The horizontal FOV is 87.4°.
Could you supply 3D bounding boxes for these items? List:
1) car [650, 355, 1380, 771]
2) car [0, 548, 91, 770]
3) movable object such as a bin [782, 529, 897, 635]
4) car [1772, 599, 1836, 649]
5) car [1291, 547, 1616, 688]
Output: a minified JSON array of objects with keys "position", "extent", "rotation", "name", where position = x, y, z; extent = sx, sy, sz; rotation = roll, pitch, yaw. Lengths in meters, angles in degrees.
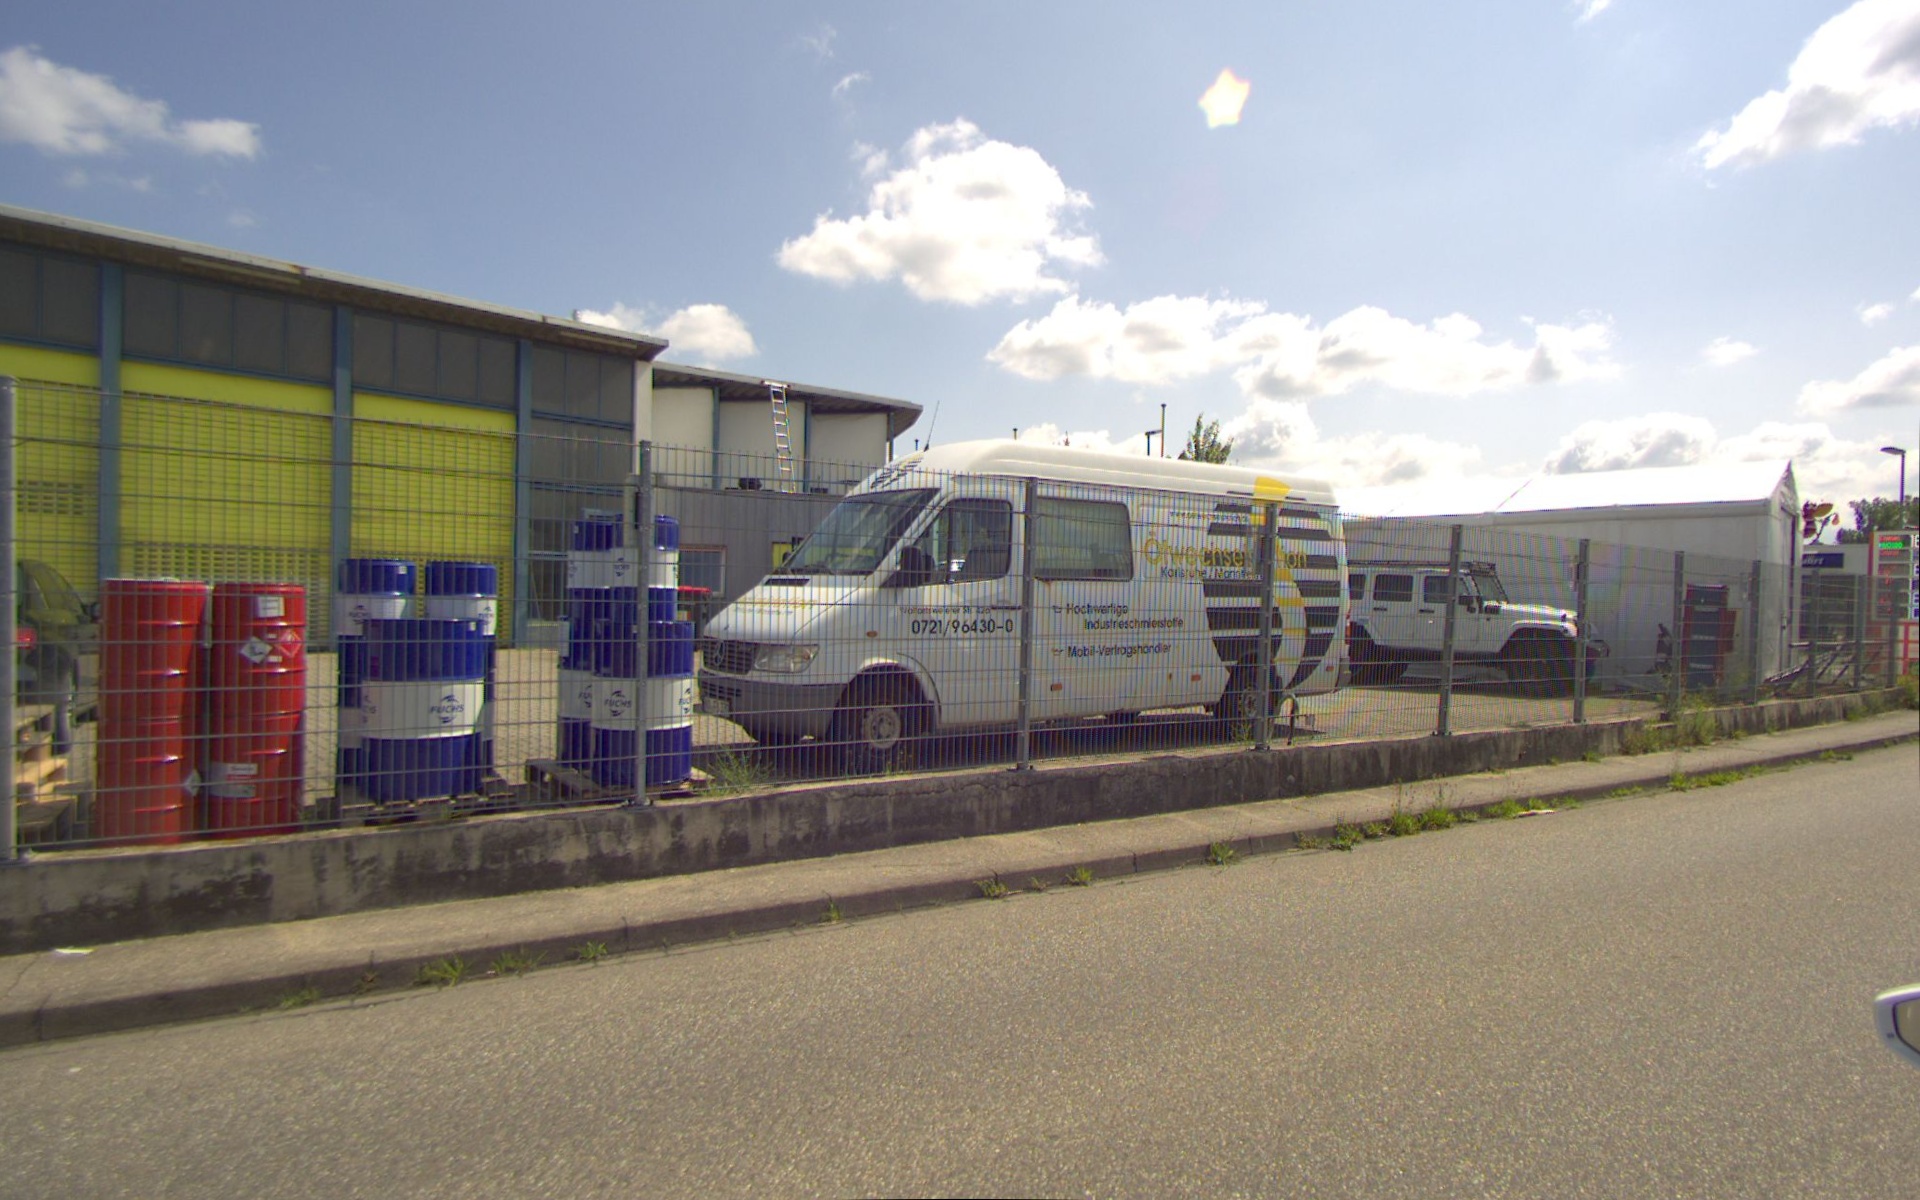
[{"position":[0.877,-0.176,9.009],"extent":[6.650,2.571,2.105],"rotation":[1,0,-35],"name":"car"},{"position":[-7.569,0.282,7.319],"extent":[1.720,1.349,4.162],"rotation":[5,-2,-40],"name":"car"},{"position":[-2.629,-0.399,21.867],"extent":[2.332,2.133,1.634],"rotation":[2,2,-8],"name":"movable object such as a bin"},{"position":[39.065,1.113,46.455],"extent":[1.972,2.137,4.982],"rotation":[2,0,43],"name":"car"},{"position":[8.200,0.226,16.923],"extent":[4.503,2.053,2.048],"rotation":[2,0,42],"name":"car"}]
